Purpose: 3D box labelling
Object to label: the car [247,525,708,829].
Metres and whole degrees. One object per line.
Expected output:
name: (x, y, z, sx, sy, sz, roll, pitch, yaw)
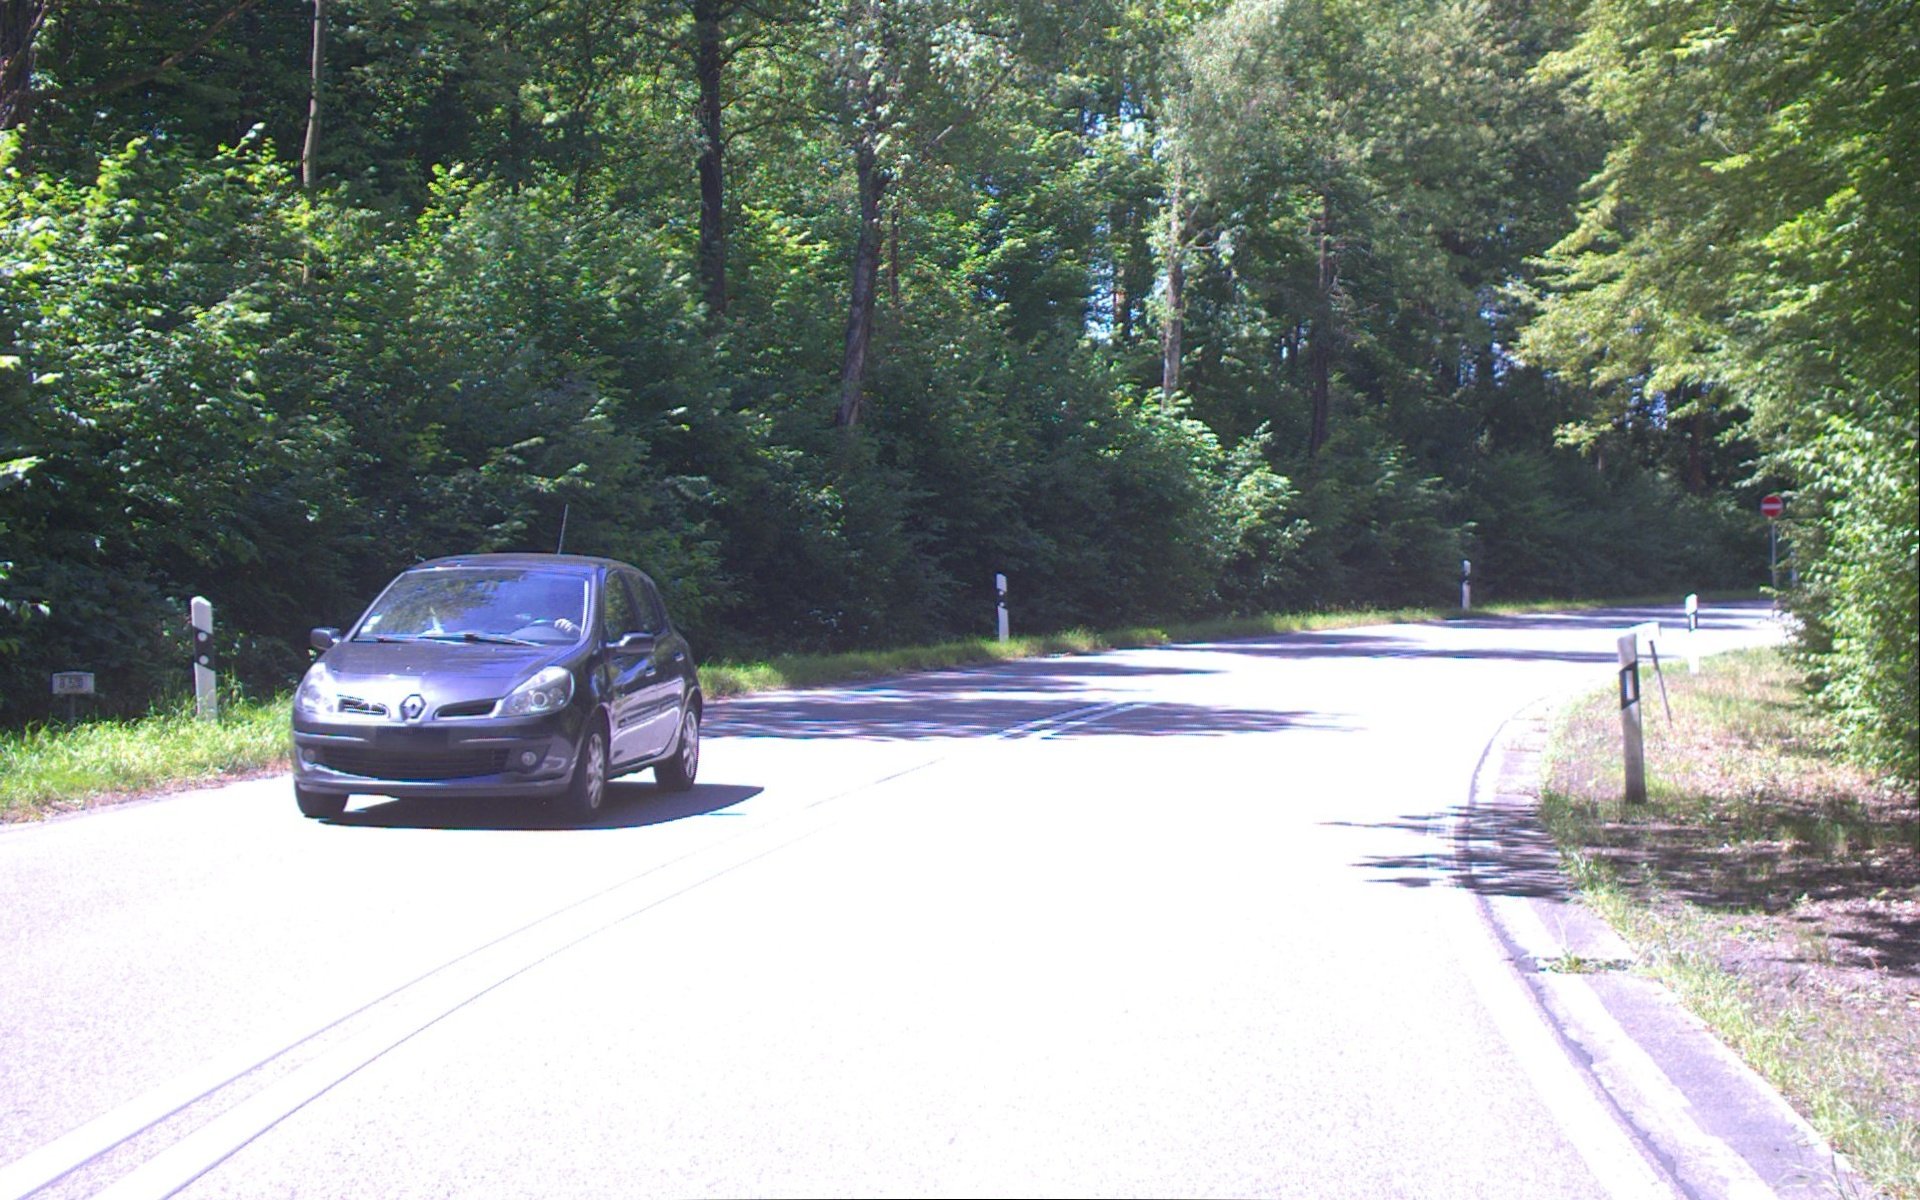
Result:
car: (-2.690, 0.401, 20.034, 1.678, 1.568, 3.894, -1, 0, 7)
